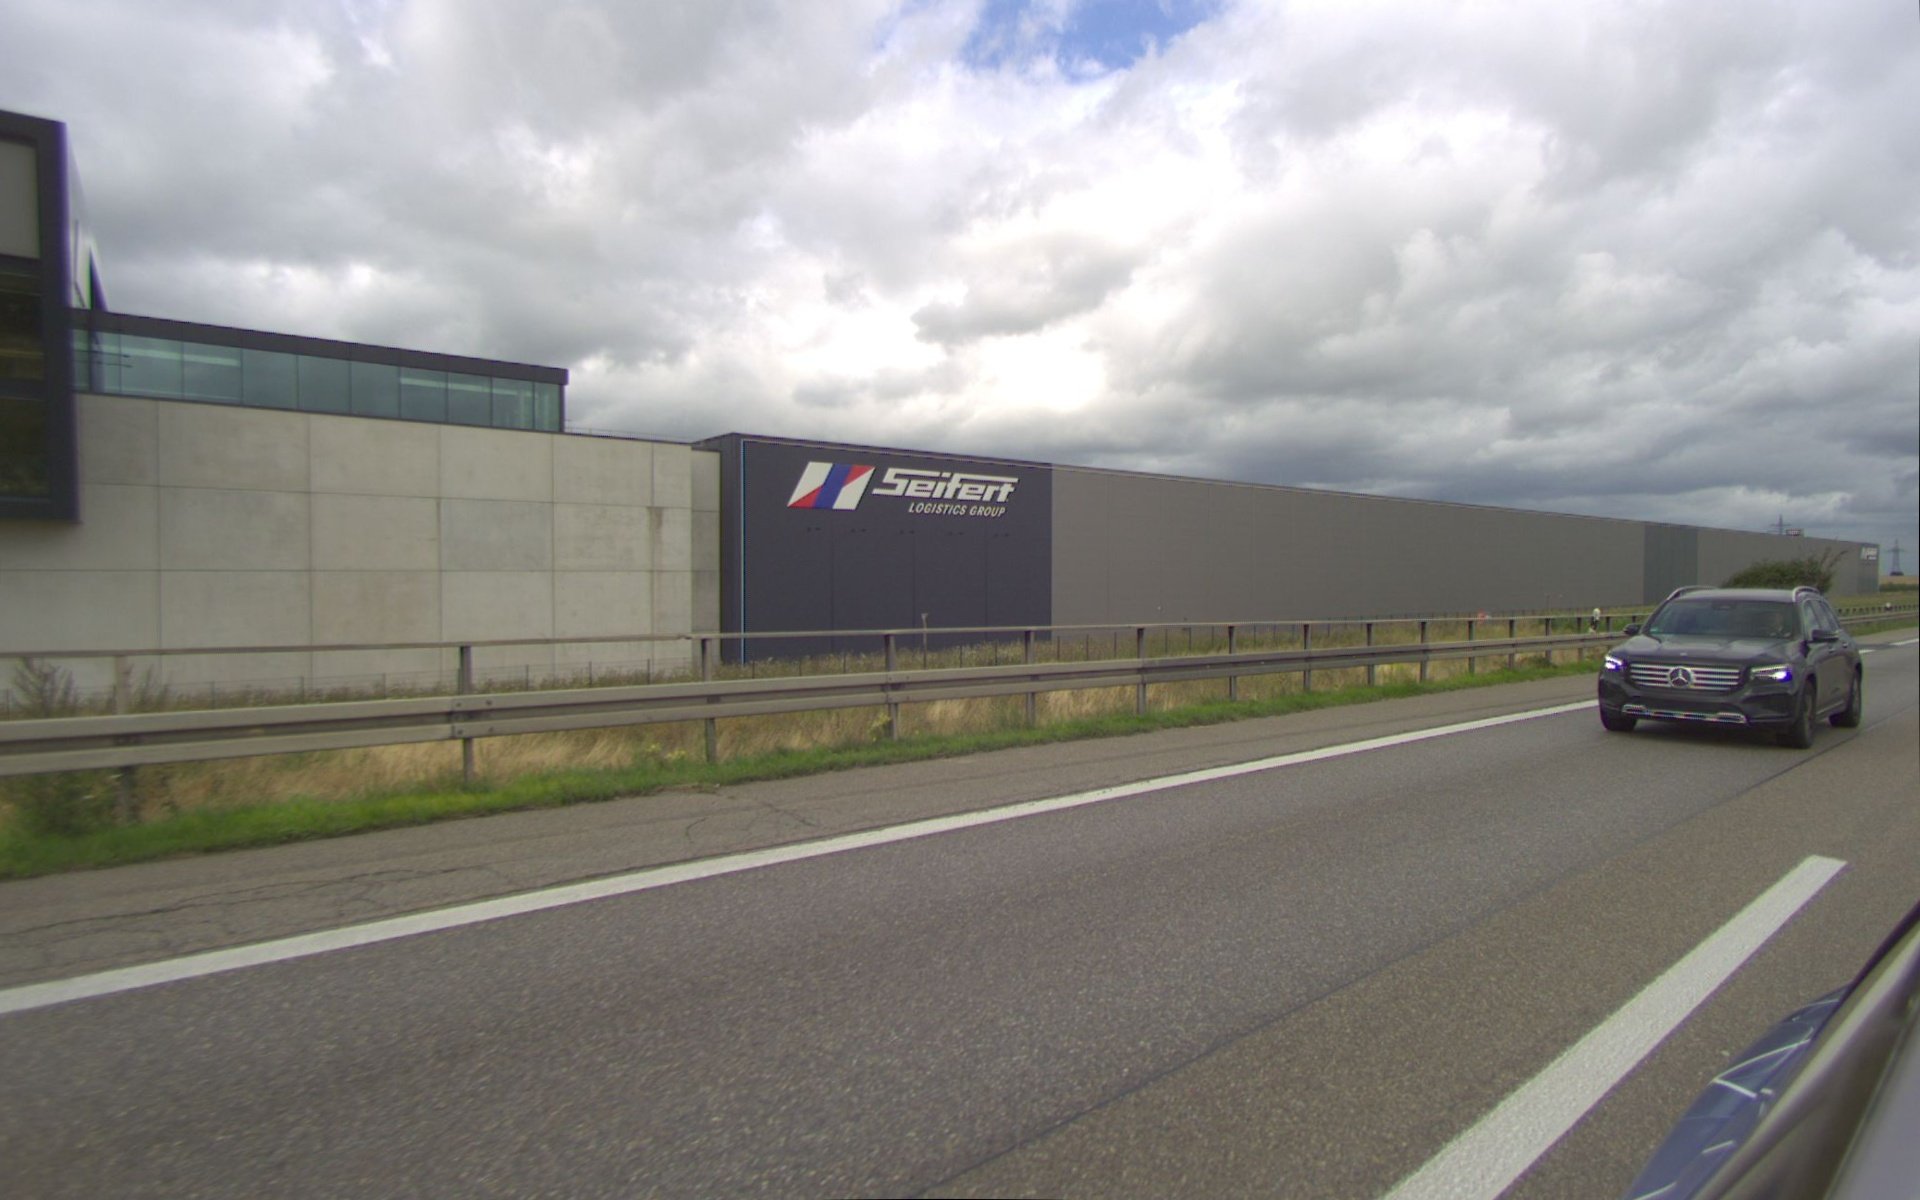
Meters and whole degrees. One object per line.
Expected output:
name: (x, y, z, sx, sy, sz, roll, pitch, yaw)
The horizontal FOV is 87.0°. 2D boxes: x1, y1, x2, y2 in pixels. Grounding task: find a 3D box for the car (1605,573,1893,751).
car: (9.259, 0.536, 11.755, 4.285, 1.629, 1.837, -2, 3, -41)
